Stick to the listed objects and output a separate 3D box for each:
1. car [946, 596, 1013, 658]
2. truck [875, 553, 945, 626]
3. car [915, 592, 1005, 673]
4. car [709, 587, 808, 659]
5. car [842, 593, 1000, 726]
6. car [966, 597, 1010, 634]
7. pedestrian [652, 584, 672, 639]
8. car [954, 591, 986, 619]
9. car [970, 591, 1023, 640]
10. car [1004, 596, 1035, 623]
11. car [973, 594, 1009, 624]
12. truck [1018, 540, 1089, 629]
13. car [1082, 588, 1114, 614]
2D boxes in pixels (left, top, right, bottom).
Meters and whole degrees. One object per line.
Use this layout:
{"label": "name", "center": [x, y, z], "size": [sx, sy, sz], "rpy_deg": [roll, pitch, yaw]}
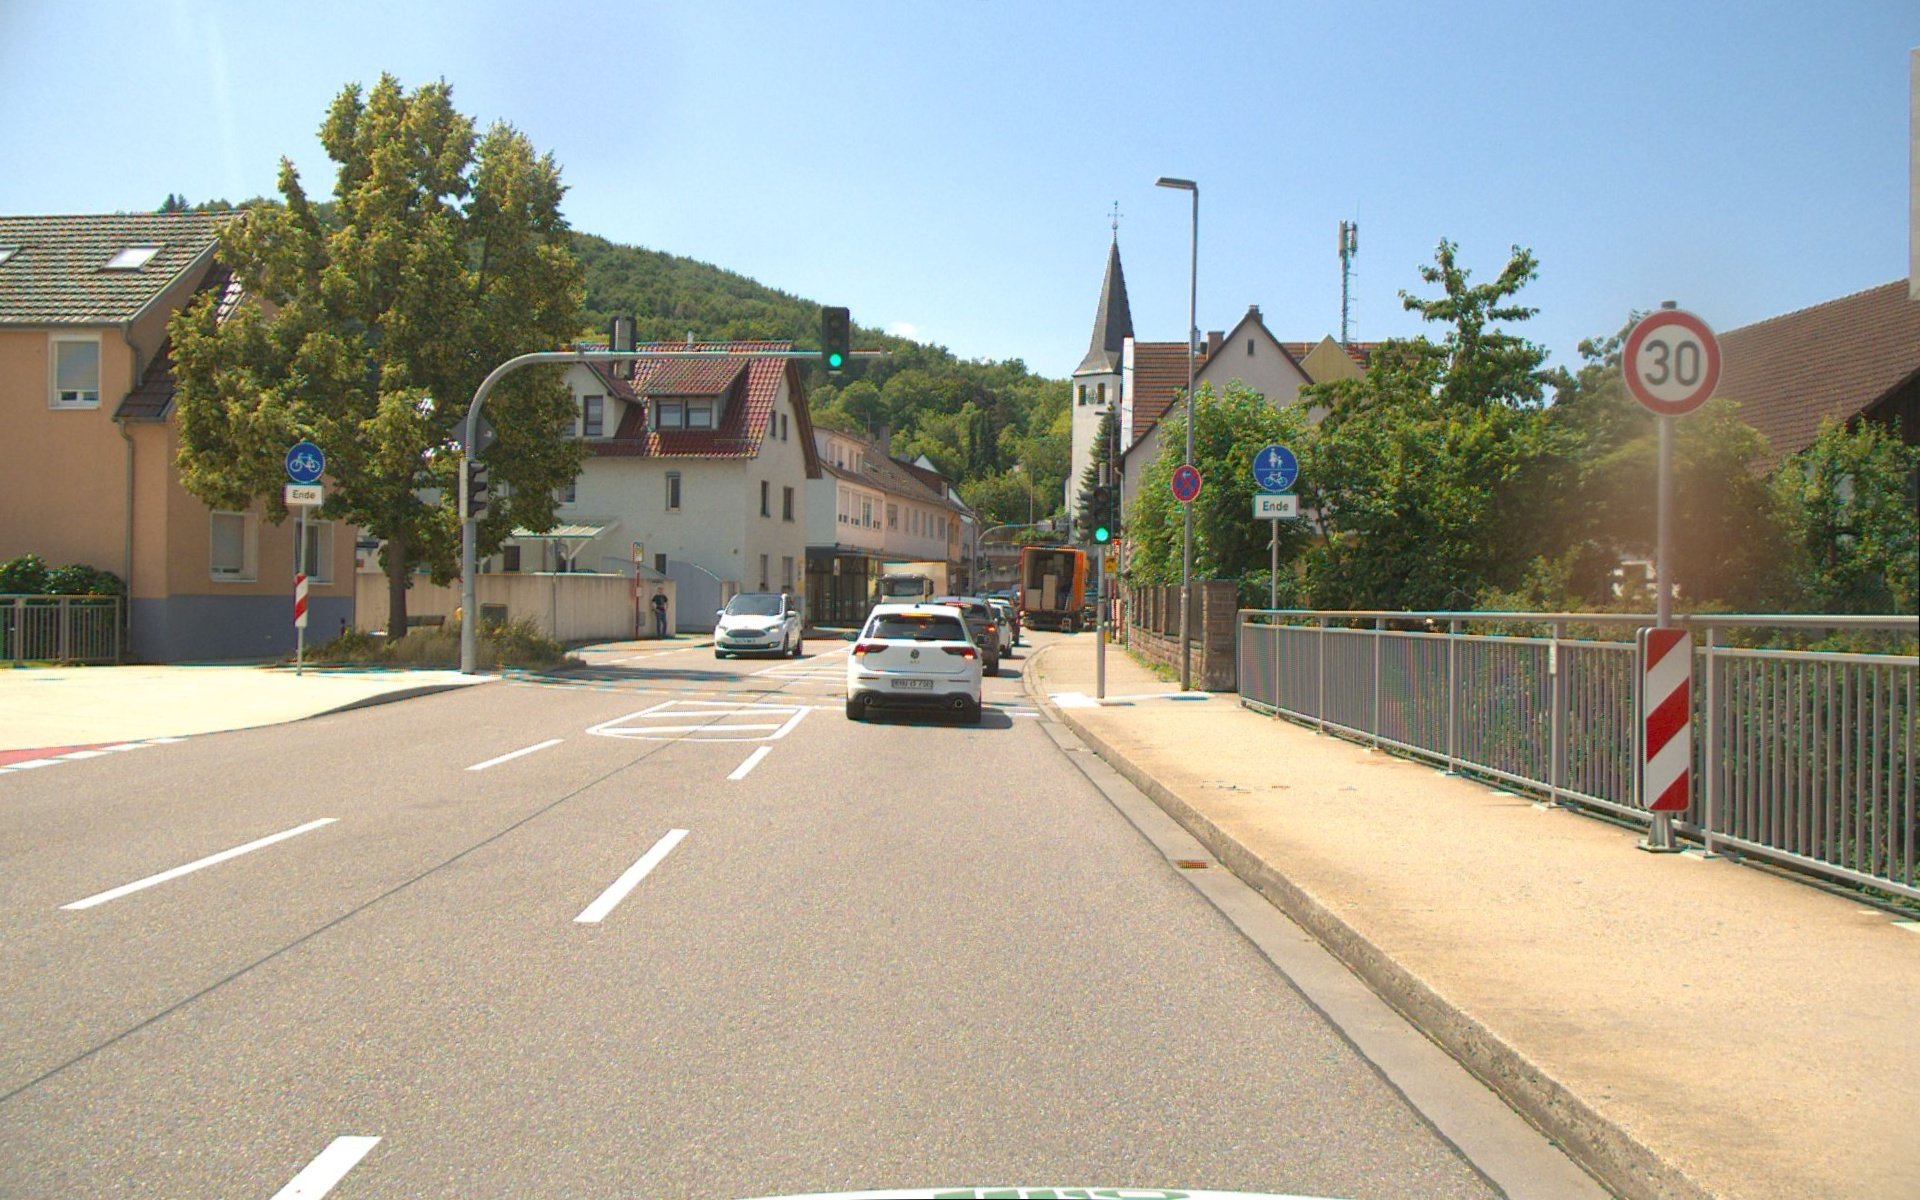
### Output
{"label": "car", "center": [0.592, 0.756, 46.927], "size": [1.777, 1.657, 4.001], "rpy_deg": [0, -1, 3]}
{"label": "truck", "center": [-2.319, -0.446, 78.580], "size": [2.449, 3.292, 6.044], "rpy_deg": [0, -1, 6]}
{"label": "car", "center": [0.058, 0.692, 36.255], "size": [1.777, 1.657, 4.001], "rpy_deg": [0, -1, 3]}
{"label": "car", "center": [-5.005, 0.571, 41.619], "size": [1.777, 1.678, 4.001], "rpy_deg": [2, -1, 3]}
{"label": "car", "center": [-0.425, 0.742, 22.072], "size": [1.777, 1.545, 4.001], "rpy_deg": [2, -1, 3]}
{"label": "car", "center": [1.235, 0.684, 71.994], "size": [1.777, 1.545, 4.001], "rpy_deg": [0, -1, 3]}
{"label": "pedestrian", "center": [-9.907, 0.377, 54.952], "size": [0.425, 1.795, 0.557], "rpy_deg": [0, 0, 21]}
{"label": "car", "center": [0.638, 0.312, 104.063], "size": [1.702, 1.680, 3.671], "rpy_deg": [1, 0, 5]}
{"label": "car", "center": [1.341, 0.559, 58.834], "size": [1.777, 1.657, 4.001], "rpy_deg": [0, -1, 3]}
{"label": "car", "center": [3.530, 0.572, 97.843], "size": [1.777, 1.545, 4.001], "rpy_deg": [0, -1, 3]}
{"label": "car", "center": [1.653, 0.477, 86.476], "size": [1.777, 1.545, 4.001], "rpy_deg": [0, -1, 3]}
{"label": "truck", "center": [4.859, -0.692, 84.290], "size": [3.296, 4.243, 9.524], "rpy_deg": [0, -1, 5]}
{"label": "car", "center": [8.262, 0.079, 99.361], "size": [1.777, 1.545, 4.001], "rpy_deg": [0, -1, 3]}
